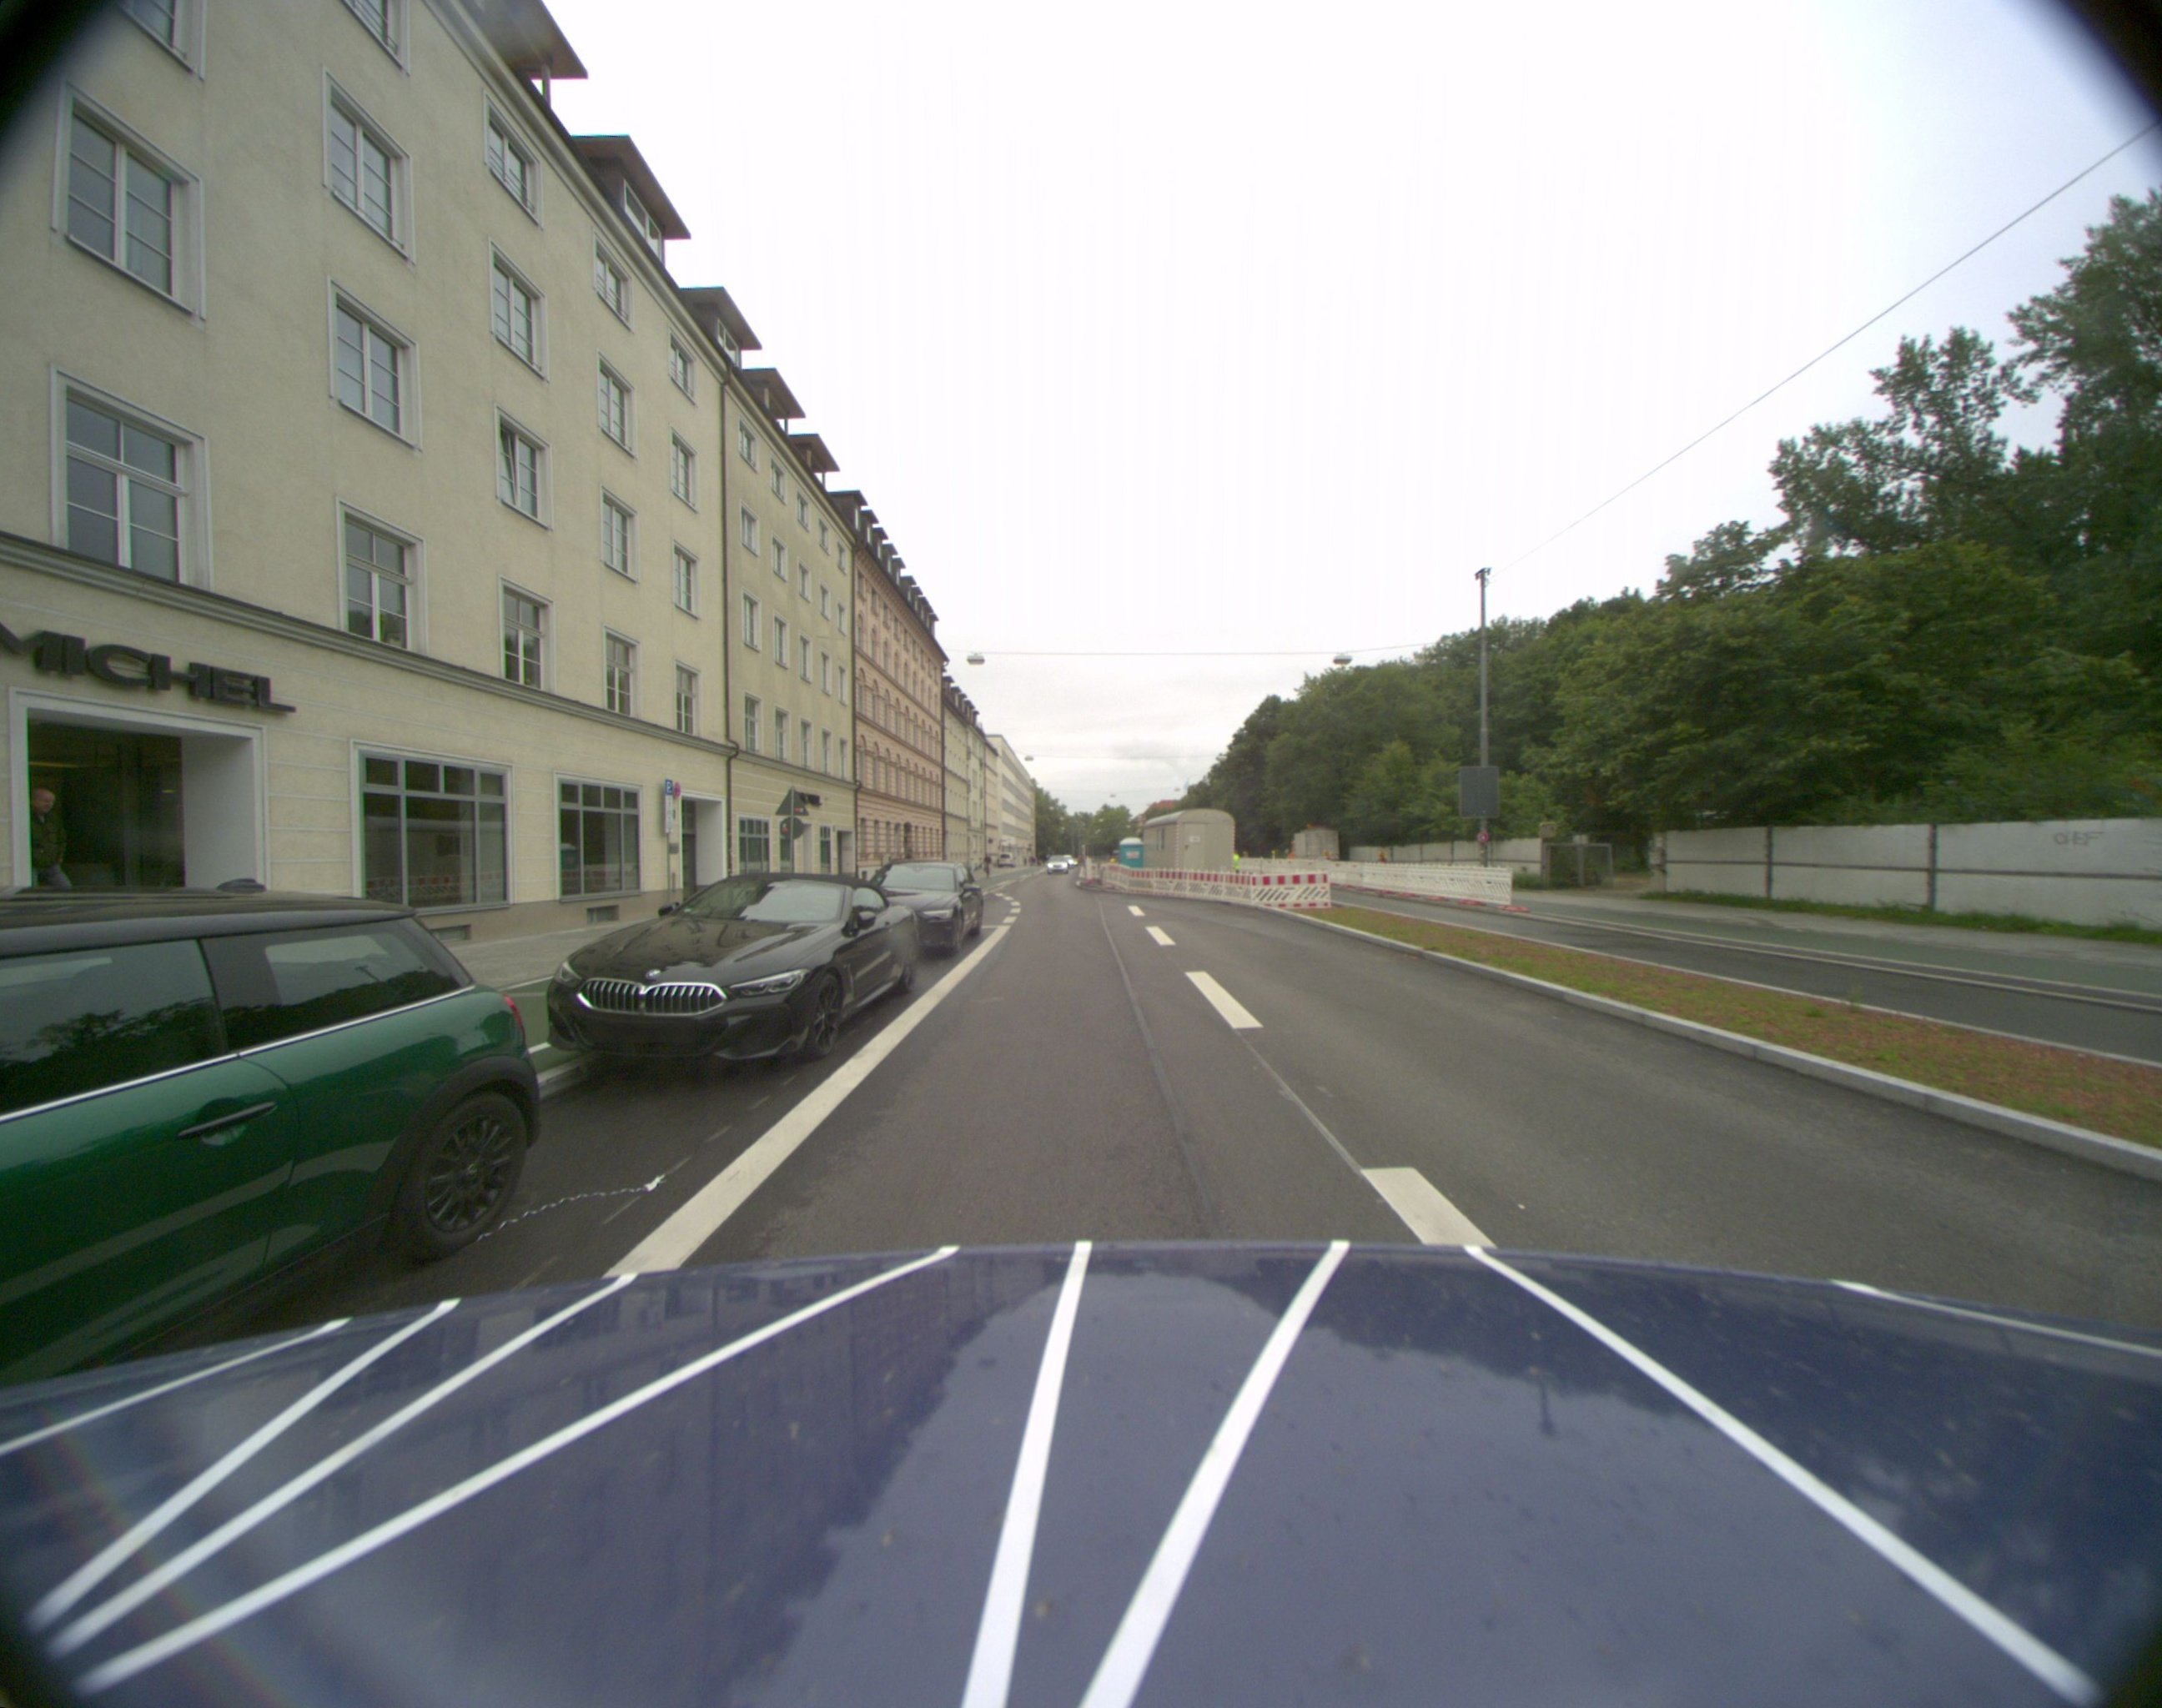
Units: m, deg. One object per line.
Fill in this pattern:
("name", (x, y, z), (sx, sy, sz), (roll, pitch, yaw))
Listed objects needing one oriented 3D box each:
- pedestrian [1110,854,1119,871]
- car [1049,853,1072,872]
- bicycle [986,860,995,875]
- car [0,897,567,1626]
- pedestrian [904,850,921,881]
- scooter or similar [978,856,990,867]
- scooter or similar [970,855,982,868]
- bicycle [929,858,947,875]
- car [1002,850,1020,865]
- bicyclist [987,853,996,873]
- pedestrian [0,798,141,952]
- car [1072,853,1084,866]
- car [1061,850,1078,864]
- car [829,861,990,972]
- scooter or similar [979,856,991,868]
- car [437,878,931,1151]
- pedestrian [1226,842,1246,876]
("pedestrian", (3.517, 0.896, 79.355), (0.860, 1.826, 0.874), (-1, 1, -7))
("car", (-1.754, 0.706, 63.692), (1.759, 1.461, 3.998), (-2, 0, -4))
("bicycle", (-6.466, 0.934, 54.546), (0.632, 1.031, 2.016), (-1, 0, -6))
("car", (-3.267, 0.988, 1.568), (1.679, 1.512, 3.829), (-2, 0, 2))
("pedestrian", (-9.560, 0.622, 43.129), (0.795, 1.735, 0.833), (-1, 1, 1))
("scooter or similar", (-9.976, 0.775, 78.062), (1.079, 1.185, 0.436), (-1, 1, -39))
("scooter or similar", (-9.948, 0.728, 71.883), (0.552, 1.238, 1.079), (0, 1, 35))
("bicycle", (-10.020, 0.887, 53.234), (0.556, 1.170, 1.727), (0, 0, 15))
("car", (-8.659, 0.454, 94.258), (1.766, 1.821, 3.999), (-1, 0, 0))
("bicyclist", (-6.401, 0.658, 54.567), (0.632, 1.459, 0.652), (-1, 1, -6))
("pedestrian", (-11.653, 0.223, 8.670), (0.861, 1.679, 0.781), (0, 1, 2))
("car", (-0.474, 0.936, 127.698), (1.998, 2.002, 3.999), (-2, 1, 1))
("car", (-1.323, 0.323, 85.648), (1.759, 1.461, 3.998), (-2, 0, -4))
("car", (-2.752, 0.932, 13.278), (1.813, 1.472, 4.461), (3, 0, -1))
("scooter or similar", (-9.713, 0.764, 76.726), (1.078, 1.185, 0.453), (-1, 1, -29))
("car", (-2.822, 1.034, 6.863), (1.830, 1.399, 4.720), (-2, 0, 2))
("pedestrian", (8.817, 0.270, 43.252), (0.890, 1.930, 0.875), (-1, 1, -2))
